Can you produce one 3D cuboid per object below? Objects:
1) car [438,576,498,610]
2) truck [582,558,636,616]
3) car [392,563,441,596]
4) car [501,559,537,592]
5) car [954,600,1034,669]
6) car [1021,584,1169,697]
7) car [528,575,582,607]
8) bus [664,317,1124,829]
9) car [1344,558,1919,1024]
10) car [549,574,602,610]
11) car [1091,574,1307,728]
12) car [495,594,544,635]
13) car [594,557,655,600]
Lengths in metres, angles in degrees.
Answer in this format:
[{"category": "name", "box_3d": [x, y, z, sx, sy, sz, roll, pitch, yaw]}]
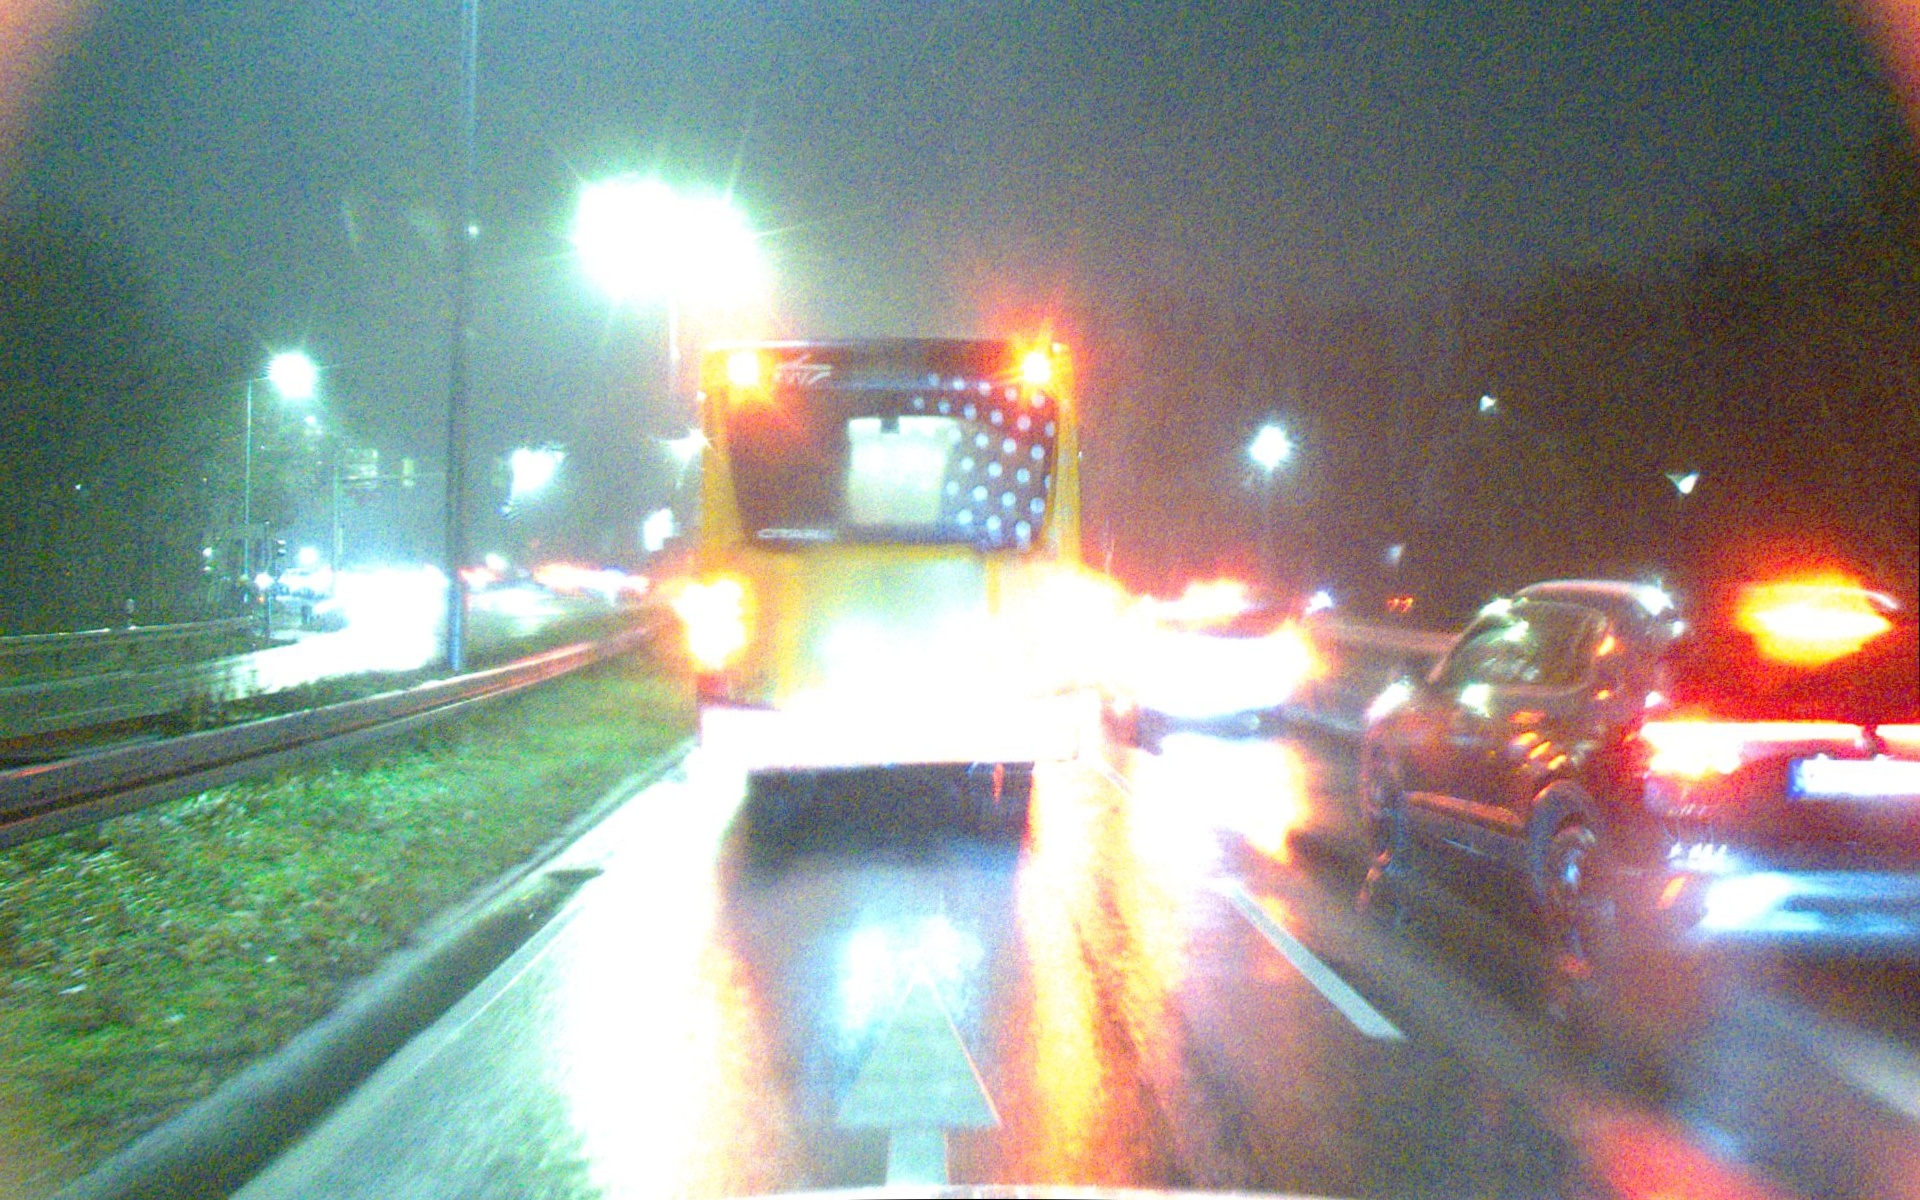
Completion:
[{"category": "car", "box_3d": [-30.427, -0.419, 102.210, 2.197, 2.049, 3.943, 0, 0, -39]}, {"category": "truck", "box_3d": [-16.217, -0.651, 76.298, 1.828, 2.434, 4.753, -1, 3, -19]}, {"category": "car", "box_3d": [-35.984, -1.342, 109.472, 1.977, 2.049, 3.951, 2, -1, -35]}, {"category": "car", "box_3d": [-28.869, -1.582, 108.313, 2.085, 2.049, 3.987, 2, -1, -13]}, {"category": "car", "box_3d": [0.790, 0.812, 40.755, 1.744, 1.570, 3.873, 2, 0, -2]}, {"category": "car", "box_3d": [2.010, 0.581, 25.628, 1.783, 1.618, 3.774, 0, 0, -3]}, {"category": "car", "box_3d": [-22.135, -0.480, 90.310, 1.735, 1.659, 3.582, 2, -1, -33]}, {"category": "bus", "box_3d": [-0.531, -0.168, 14.511, 2.758, 3.077, 8.684, 1, 0, -2]}, {"category": "car", "box_3d": [3.168, 0.670, 7.630, 1.705, 1.592, 3.774, 2, 0, -3]}, {"category": "car", "box_3d": [-22.383, -0.481, 96.137, 1.973, 2.049, 3.960, 0, 0, -30]}, {"category": "car", "box_3d": [2.669, 0.531, 19.289, 1.783, 1.618, 3.774, 0, 0, -3]}, {"category": "car", "box_3d": [-22.282, 0.721, 83.573, 1.965, 2.049, 3.974, 0, 0, -22]}, {"category": "car", "box_3d": [-16.879, -1.058, 83.094, 1.971, 2.049, 3.964, 2, -1, -28]}]
